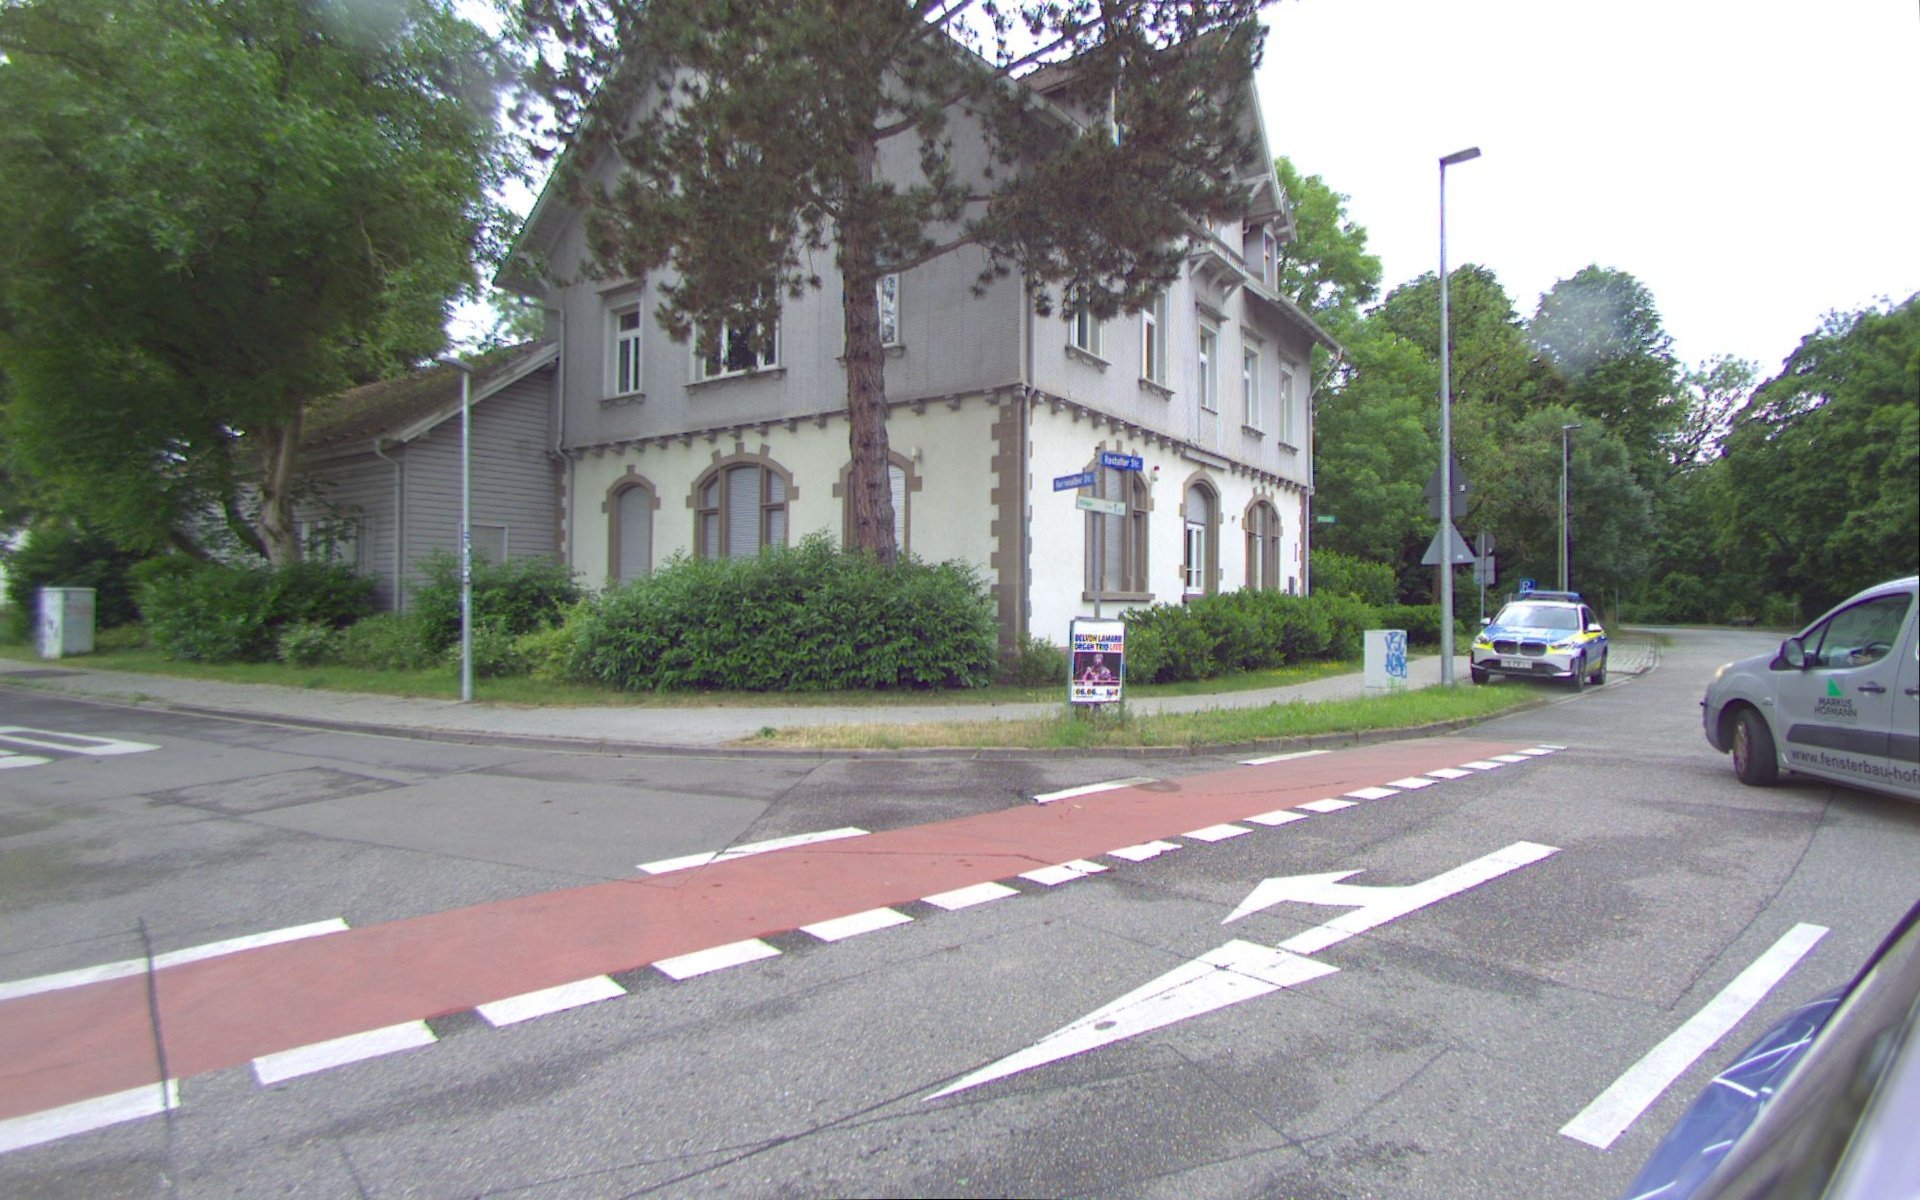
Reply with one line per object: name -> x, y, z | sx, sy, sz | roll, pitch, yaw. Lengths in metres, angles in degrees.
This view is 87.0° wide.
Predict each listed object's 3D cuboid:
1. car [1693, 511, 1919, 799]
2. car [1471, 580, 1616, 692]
car -> 7.292, 0.364, 6.617 | 2.057, 1.881, 4.218 | 0, 0, 3
car -> 11.303, 0.612, 19.493 | 1.926, 1.873, 3.947 | 3, 1, 37
